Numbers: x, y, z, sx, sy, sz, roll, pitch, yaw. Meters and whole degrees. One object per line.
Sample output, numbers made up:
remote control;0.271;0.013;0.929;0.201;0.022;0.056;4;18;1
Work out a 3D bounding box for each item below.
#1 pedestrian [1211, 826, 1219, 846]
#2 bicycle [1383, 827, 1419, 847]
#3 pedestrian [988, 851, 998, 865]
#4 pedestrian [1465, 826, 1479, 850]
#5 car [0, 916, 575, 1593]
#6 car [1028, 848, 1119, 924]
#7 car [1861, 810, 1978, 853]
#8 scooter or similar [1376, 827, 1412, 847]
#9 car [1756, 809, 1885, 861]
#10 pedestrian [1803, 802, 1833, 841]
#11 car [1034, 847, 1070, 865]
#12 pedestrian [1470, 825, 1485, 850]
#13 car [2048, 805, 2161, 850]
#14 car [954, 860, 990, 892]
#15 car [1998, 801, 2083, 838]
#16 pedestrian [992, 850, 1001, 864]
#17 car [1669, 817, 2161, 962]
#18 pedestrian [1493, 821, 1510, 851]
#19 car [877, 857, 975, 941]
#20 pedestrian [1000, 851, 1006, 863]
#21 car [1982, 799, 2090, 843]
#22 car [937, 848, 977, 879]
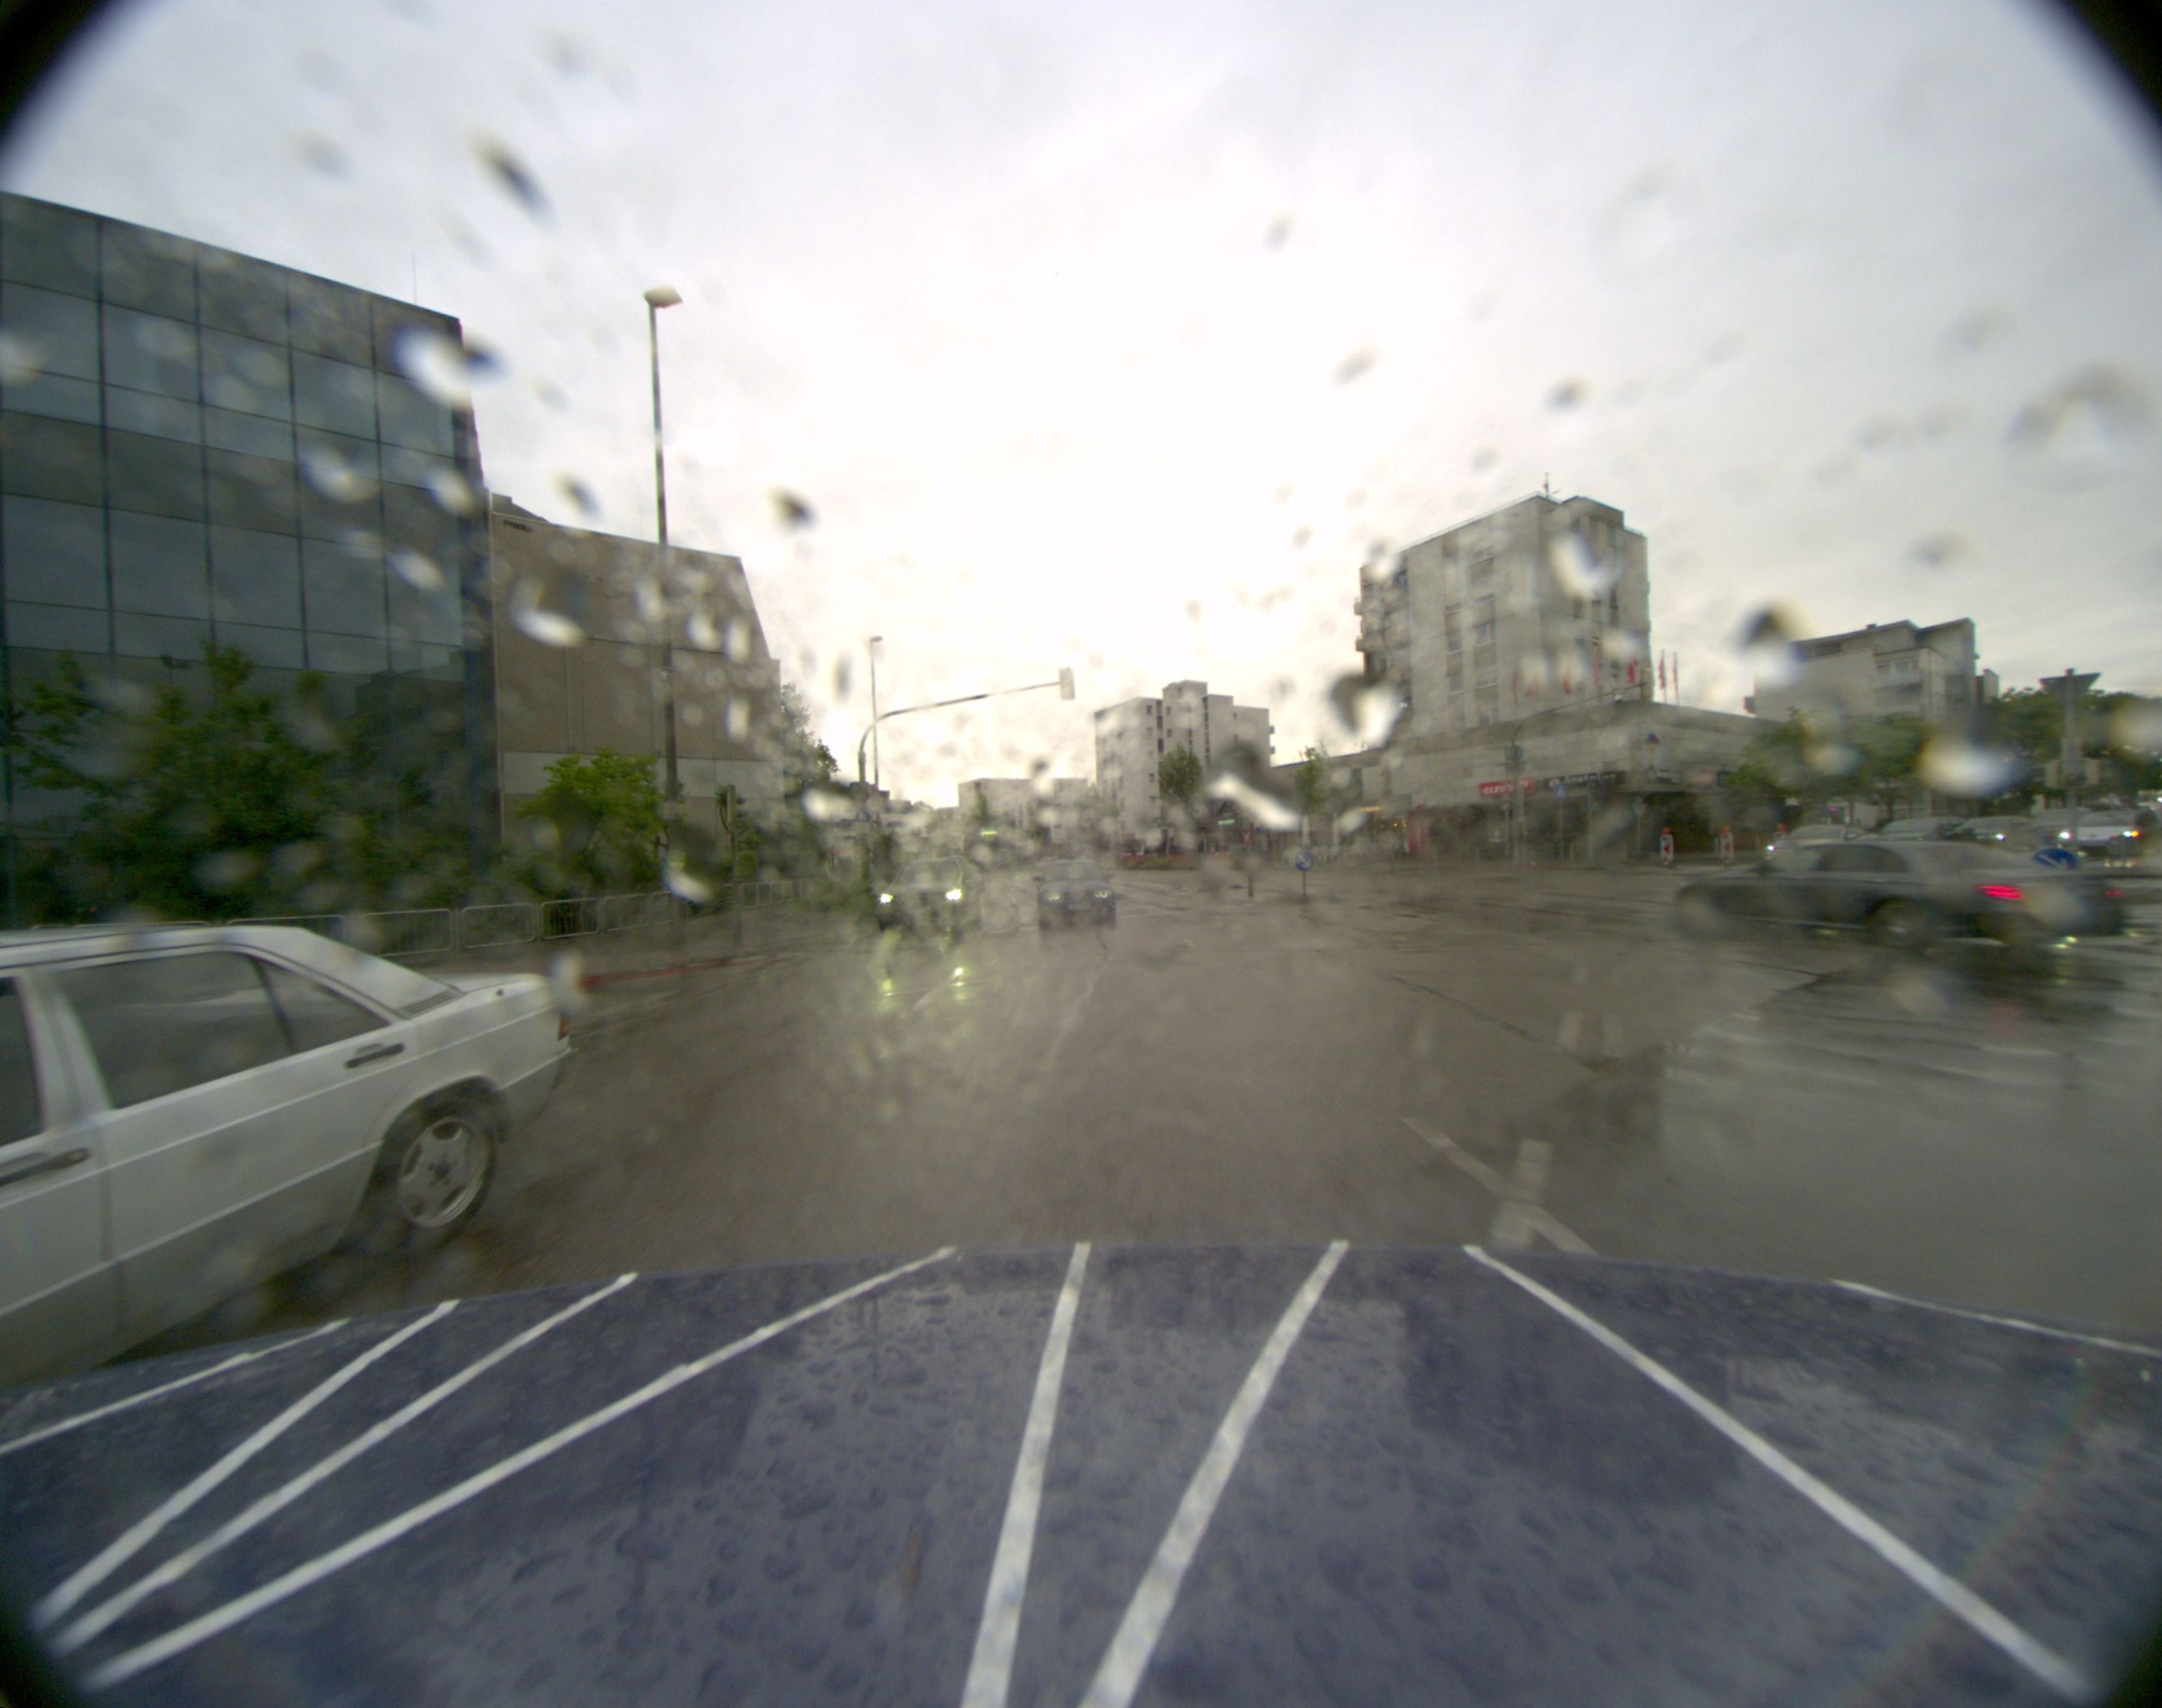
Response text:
pedestrian;12.582;-1.679;71.486;0.427;1.837;0.500;-3;1;-21
bicycle;21.245;-1.154;50.490;2.556;1.216;0.695;-3;1;-28
pedestrian;-12.914;0.603;111.569;0.907;2.002;0.975;-3;1;-32
pedestrian;22.148;-0.923;43.004;0.497;1.340;0.537;-3;2;2
car;-3.403;1.062;1.631;1.638;1.440;4.269;-3;0;1
car;-0.288;0.689;18.111;1.677;1.534;3.911;-3;0;-7
car;31.526;-0.850;28.564;4.063;1.412;1.866;-3;2;-25
scooter or similar;19.958;-1.063;48.432;2.596;1.167;0.641;-3;1;-29
car;25.328;-0.673;26.013;4.211;1.586;1.866;-3;2;-26
pedestrian;37.036;-1.635;38.185;0.720;1.883;0.807;-2;1;-13
car;-2.997;0.206;78.699;1.894;1.673;4.496;-4;1;-27
pedestrian;22.094;-0.925;42.354;0.497;1.340;0.537;-3;1;4
car;37.003;-0.974;27.426;4.063;1.412;1.769;-3;1;-26
car;-5.475;1.055;38.279;1.637;1.378;4.511;-3;1;-8
car;45.960;-1.650;36.382;4.005;1.586;1.713;-3;1;-26
pedestrian;-12.519;0.493;112.281;0.907;2.002;0.975;-3;1;-32
car;11.550;0.339;11.136;1.925;1.622;4.900;-1;2;-2
pedestrian;24.688;-1.061;44.578;0.714;1.682;0.658;-5;-1;35
car;-3.612;0.934;17.867;1.908;1.611;4.331;-3;1;-11
pedestrian;-11.850;0.505;115.072;0.550;1.740;0.679;-3;1;-29
car;39.127;-1.349;31.137;4.004;1.586;1.866;-3;1;-25
car;-8.284;0.569;50.533;2.003;1.883;4.580;-3;1;-16
